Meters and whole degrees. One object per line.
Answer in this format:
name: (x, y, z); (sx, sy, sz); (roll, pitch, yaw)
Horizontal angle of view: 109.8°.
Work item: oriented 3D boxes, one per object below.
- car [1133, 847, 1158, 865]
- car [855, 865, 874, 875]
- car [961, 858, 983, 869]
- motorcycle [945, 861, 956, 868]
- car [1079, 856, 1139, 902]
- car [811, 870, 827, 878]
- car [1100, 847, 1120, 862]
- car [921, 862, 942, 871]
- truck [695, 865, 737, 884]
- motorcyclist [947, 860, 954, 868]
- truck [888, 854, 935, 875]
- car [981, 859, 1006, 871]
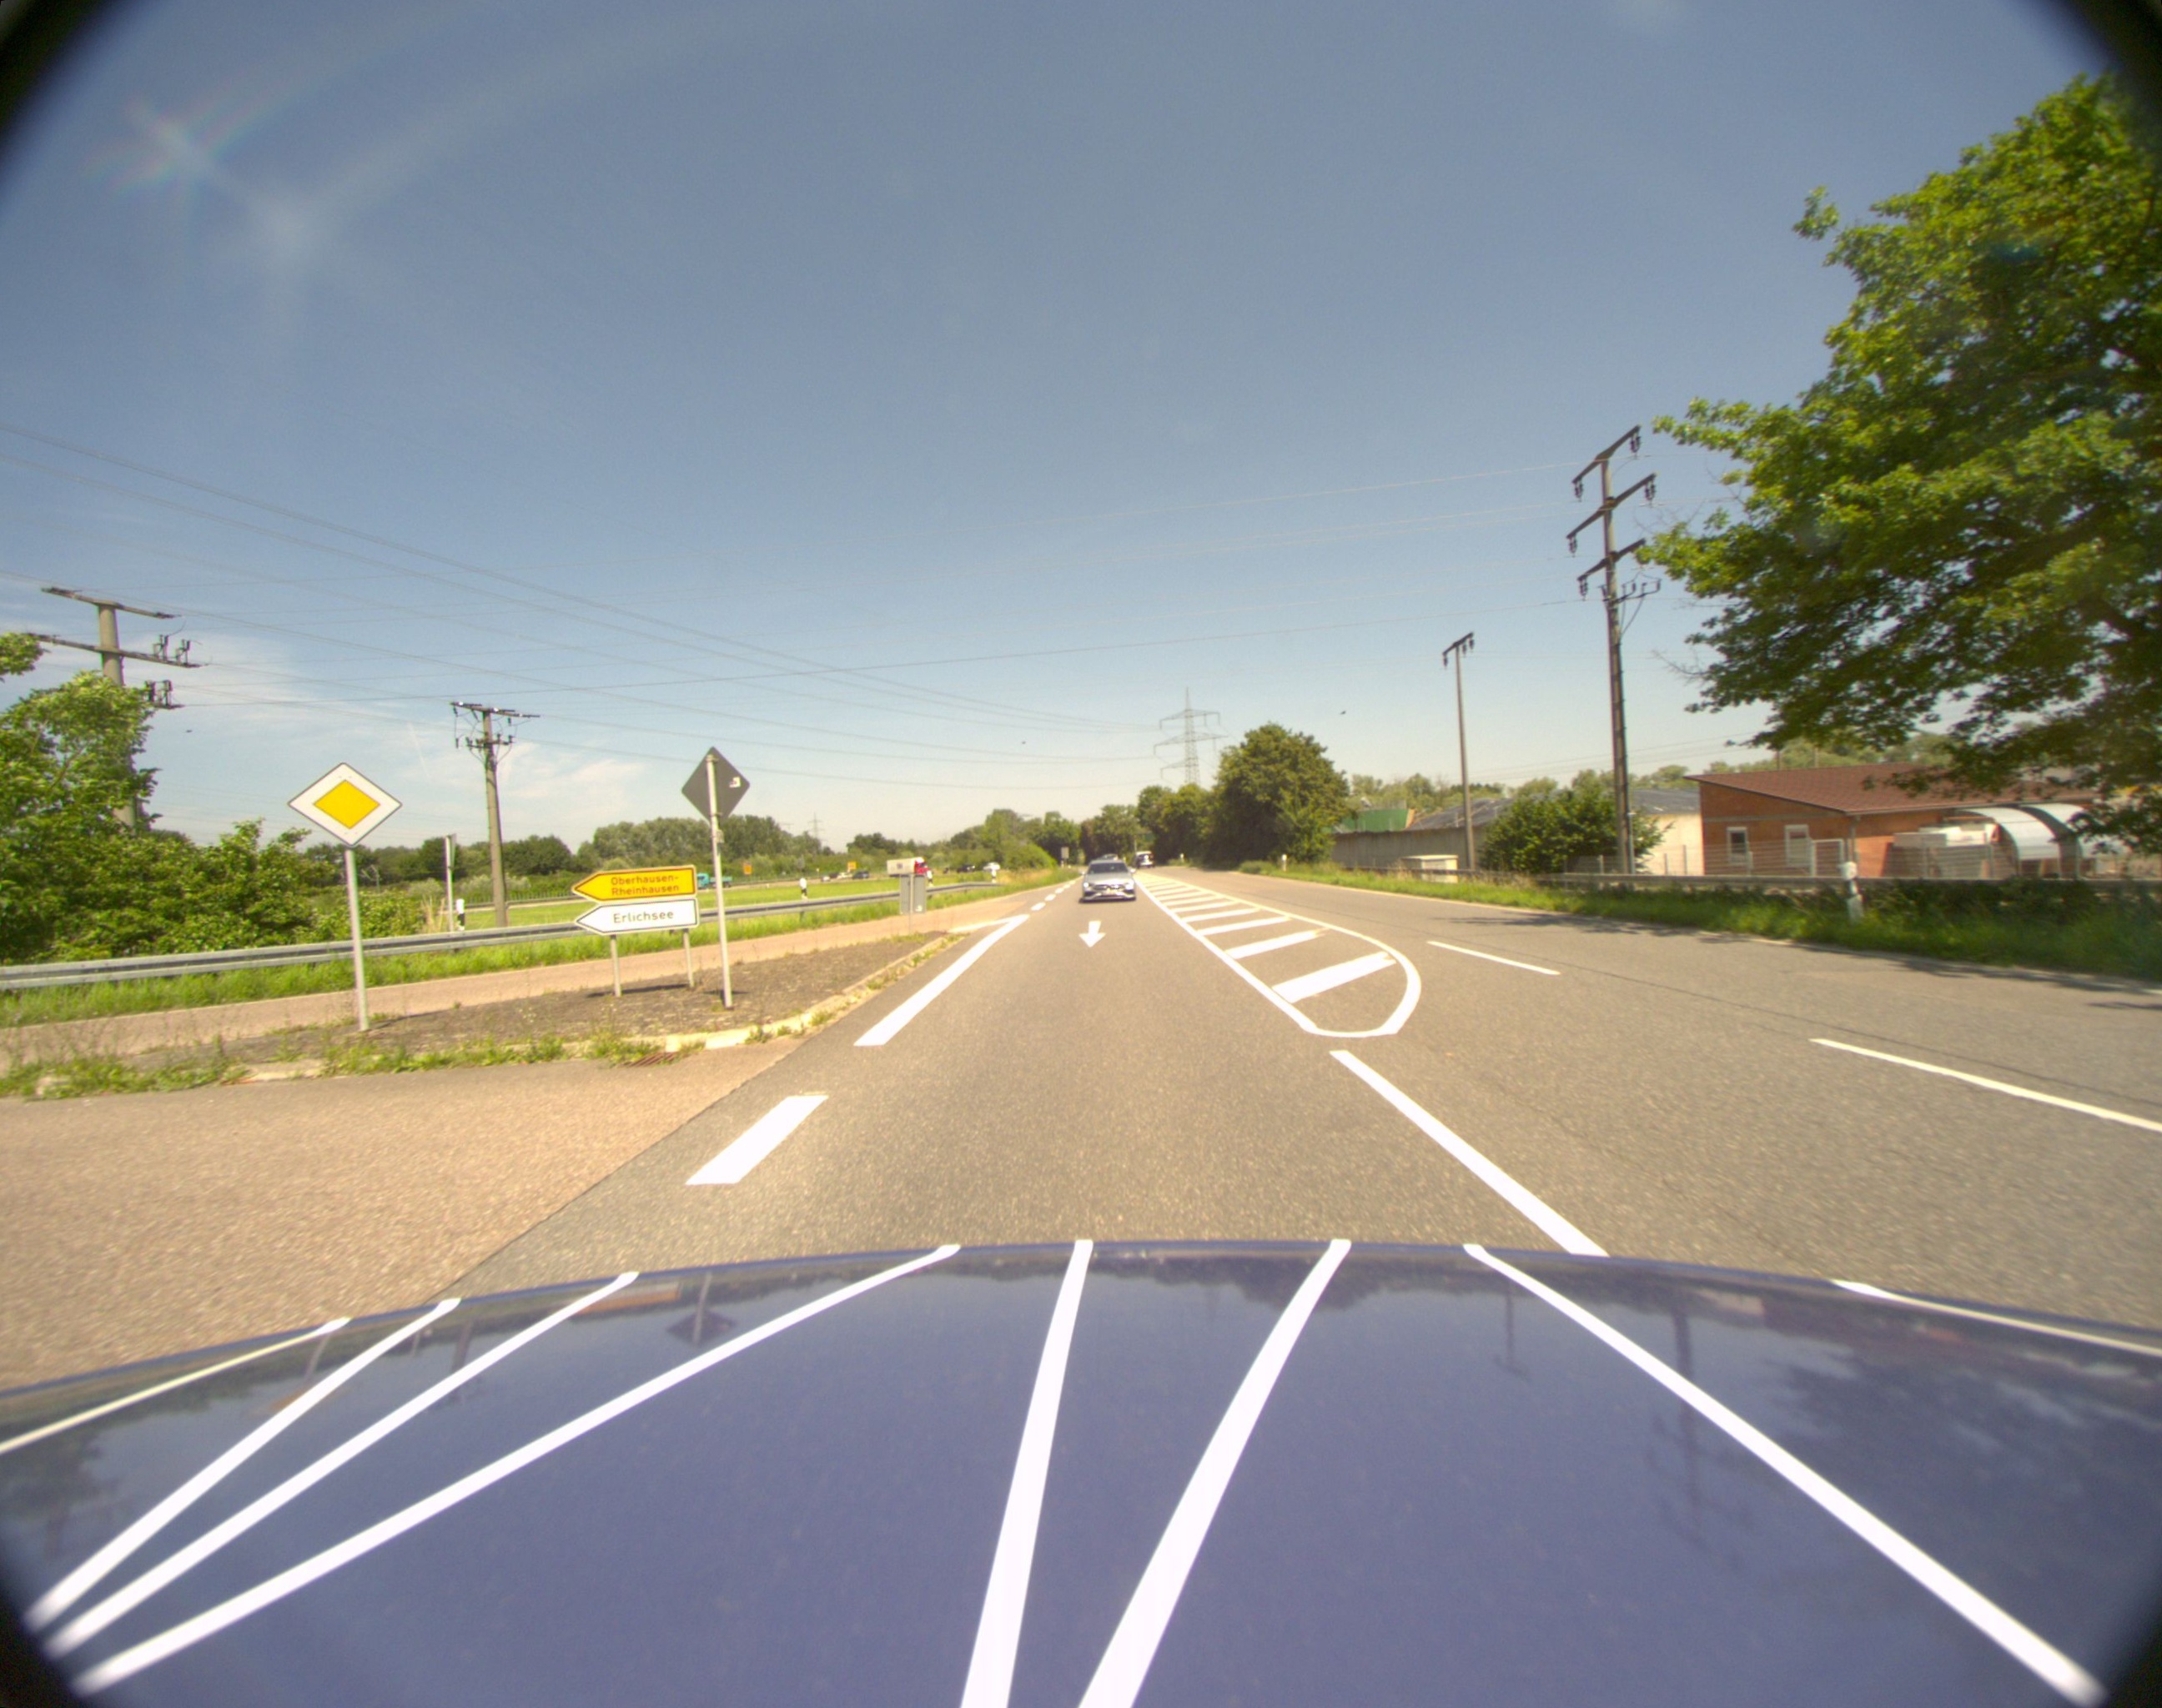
car: (6.029, 0.177, 71.444); (1.737, 1.581, 3.956); (-5, 1, -1)
car: (-47.329, 3.525, 166.119); (4.427, 1.822, 1.935); (-3, 2, 43)
car: (-20.264, 1.738, 141.095); (1.710, 1.629, 4.238); (-7, 2, -41)
motorcycle: (-25.111, 2.064, 146.059); (0.785, 1.117, 2.423); (-8, 3, -45)
car: (1.091, 0.852, 27.114); (1.823, 1.478, 4.151); (-2, -1, 6)
car: (-60.648, 4.684, 176.118); (3.998, 1.451, 1.640); (-4, 1, 41)
car: (3.409, 0.047, 89.984); (1.746, 1.580, 3.998); (-6, 0, -5)
car: (-29.908, 2.482, 151.918); (1.850, 1.452, 4.796); (-6, 2, -44)
truck: (-79.009, 4.479, 164.636); (2.604, 3.451, 7.622); (-4, 0, 32)
motorcyclist: (-25.136, 1.930, 146.050); (0.784, 1.487, 1.128); (-6, 2, -45)
truck: (-32.602, 2.036, 145.626); (9.530, 3.560, 2.729); (-3, 3, 34)
car: (-15.520, 1.963, 134.411); (1.864, 1.592, 4.766); (-7, 1, -39)
